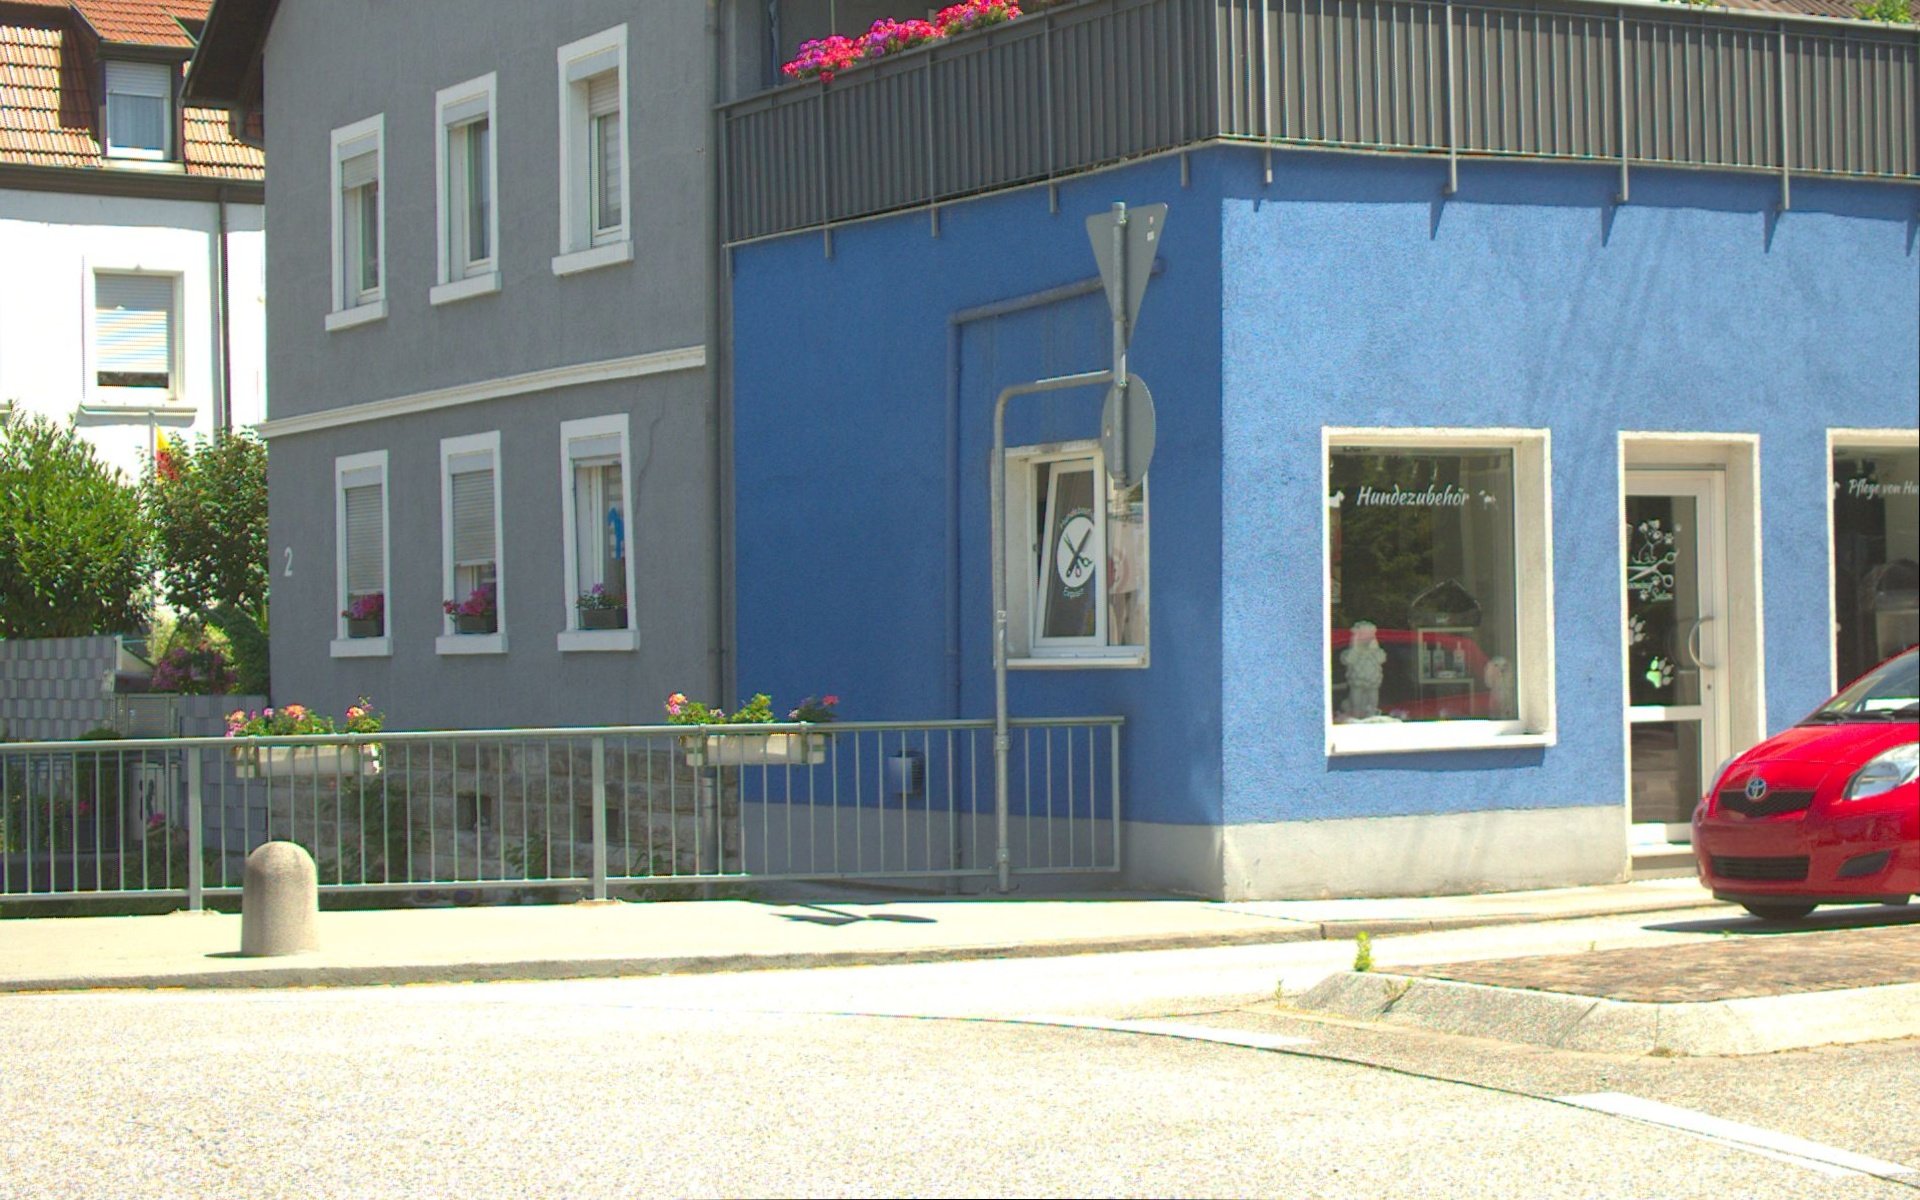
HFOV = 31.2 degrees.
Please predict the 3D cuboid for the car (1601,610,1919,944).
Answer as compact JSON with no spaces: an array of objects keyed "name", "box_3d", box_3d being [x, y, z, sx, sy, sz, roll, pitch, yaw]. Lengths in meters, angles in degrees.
[{"name":"car","box_3d":[5.486,0.840,17.511,3.986,1.528,1.835,-1,-3,-25]}]
